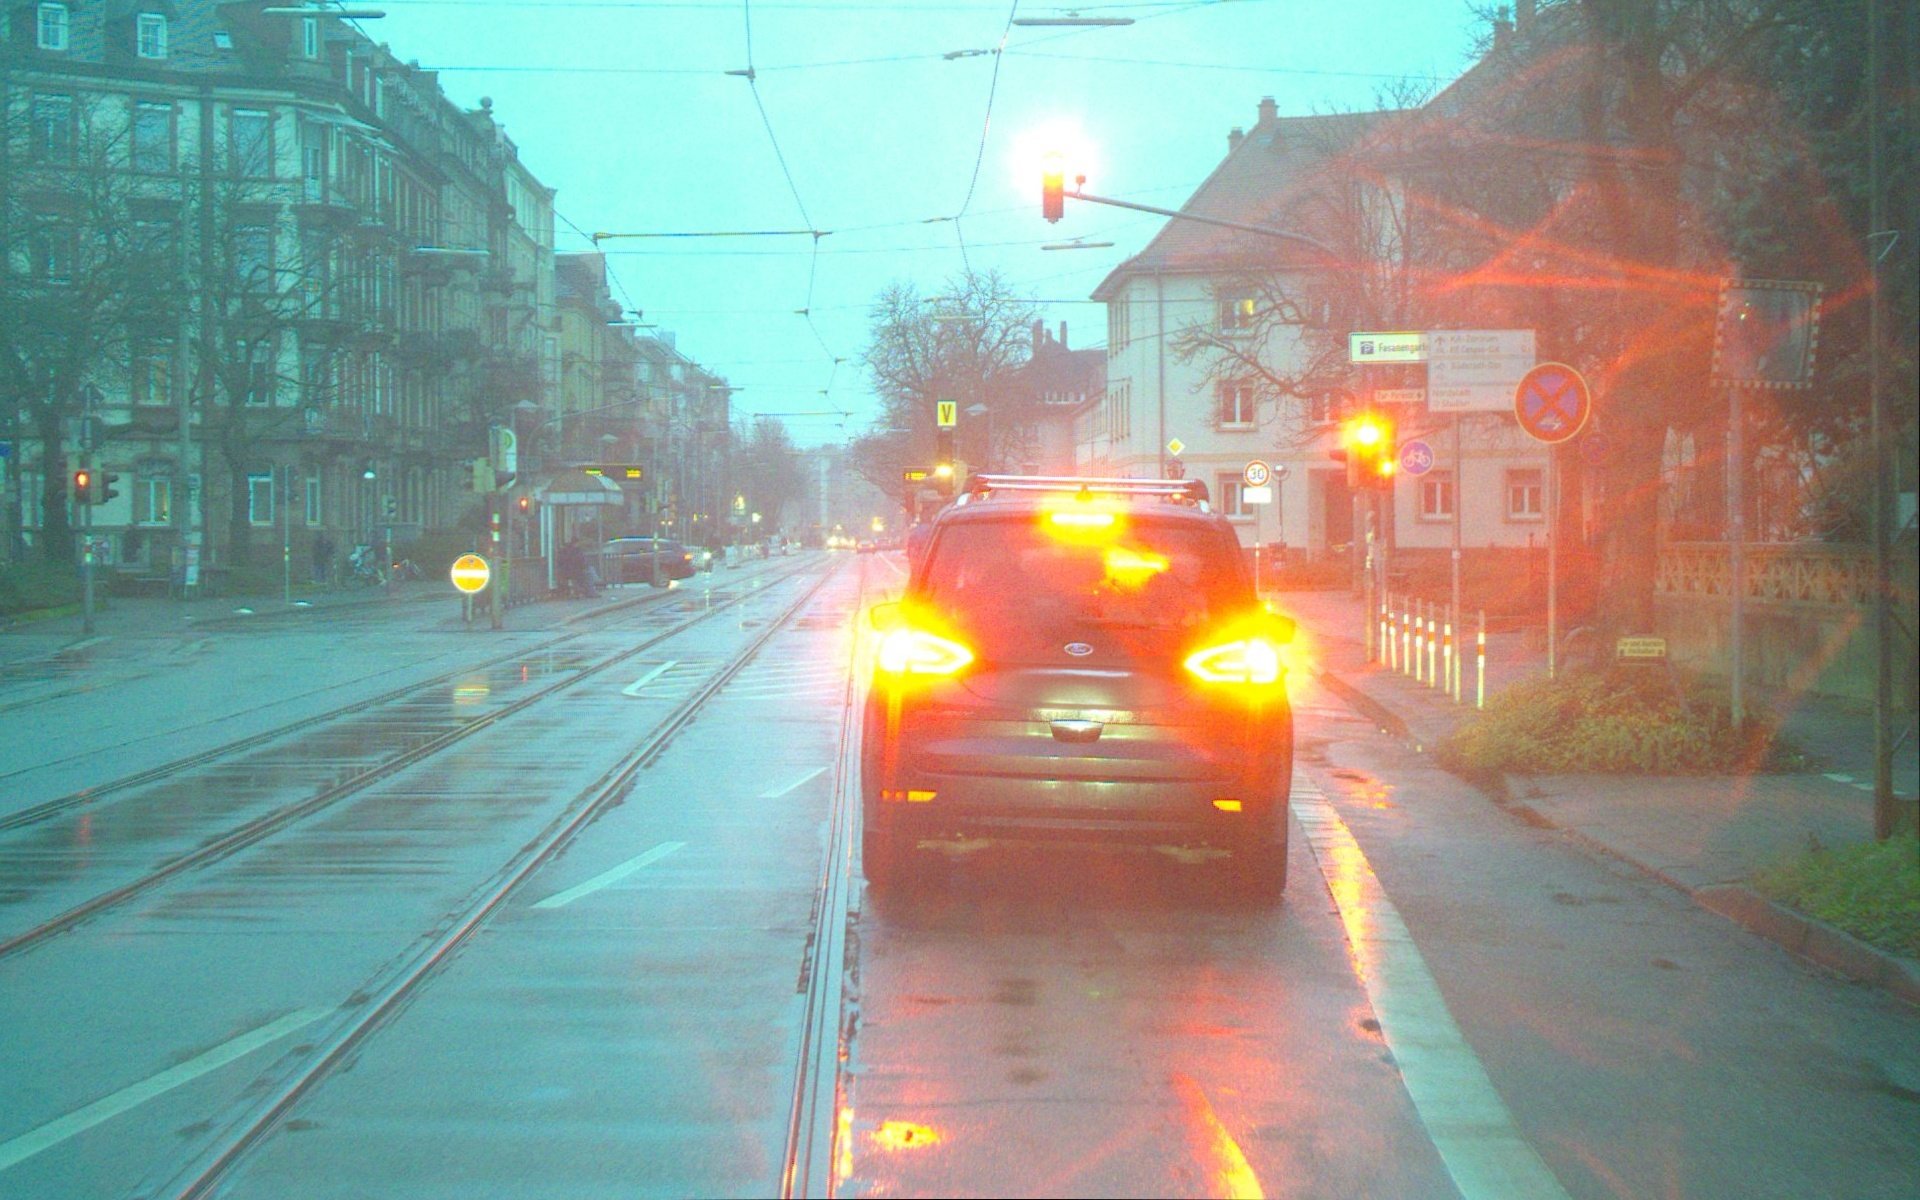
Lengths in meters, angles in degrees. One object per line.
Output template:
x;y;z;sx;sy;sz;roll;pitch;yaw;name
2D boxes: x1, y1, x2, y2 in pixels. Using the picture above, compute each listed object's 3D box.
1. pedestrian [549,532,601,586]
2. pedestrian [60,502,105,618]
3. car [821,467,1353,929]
-8.691;-0.920;77.603;1.047;1.196;0.885;1;0;0;pedestrian
-15.276;-0.706;59.844;0.704;2.007;0.661;0;1;-20;pedestrian
0.552;0.349;16.255;2.103;1.810;4.661;2;1;1;car
